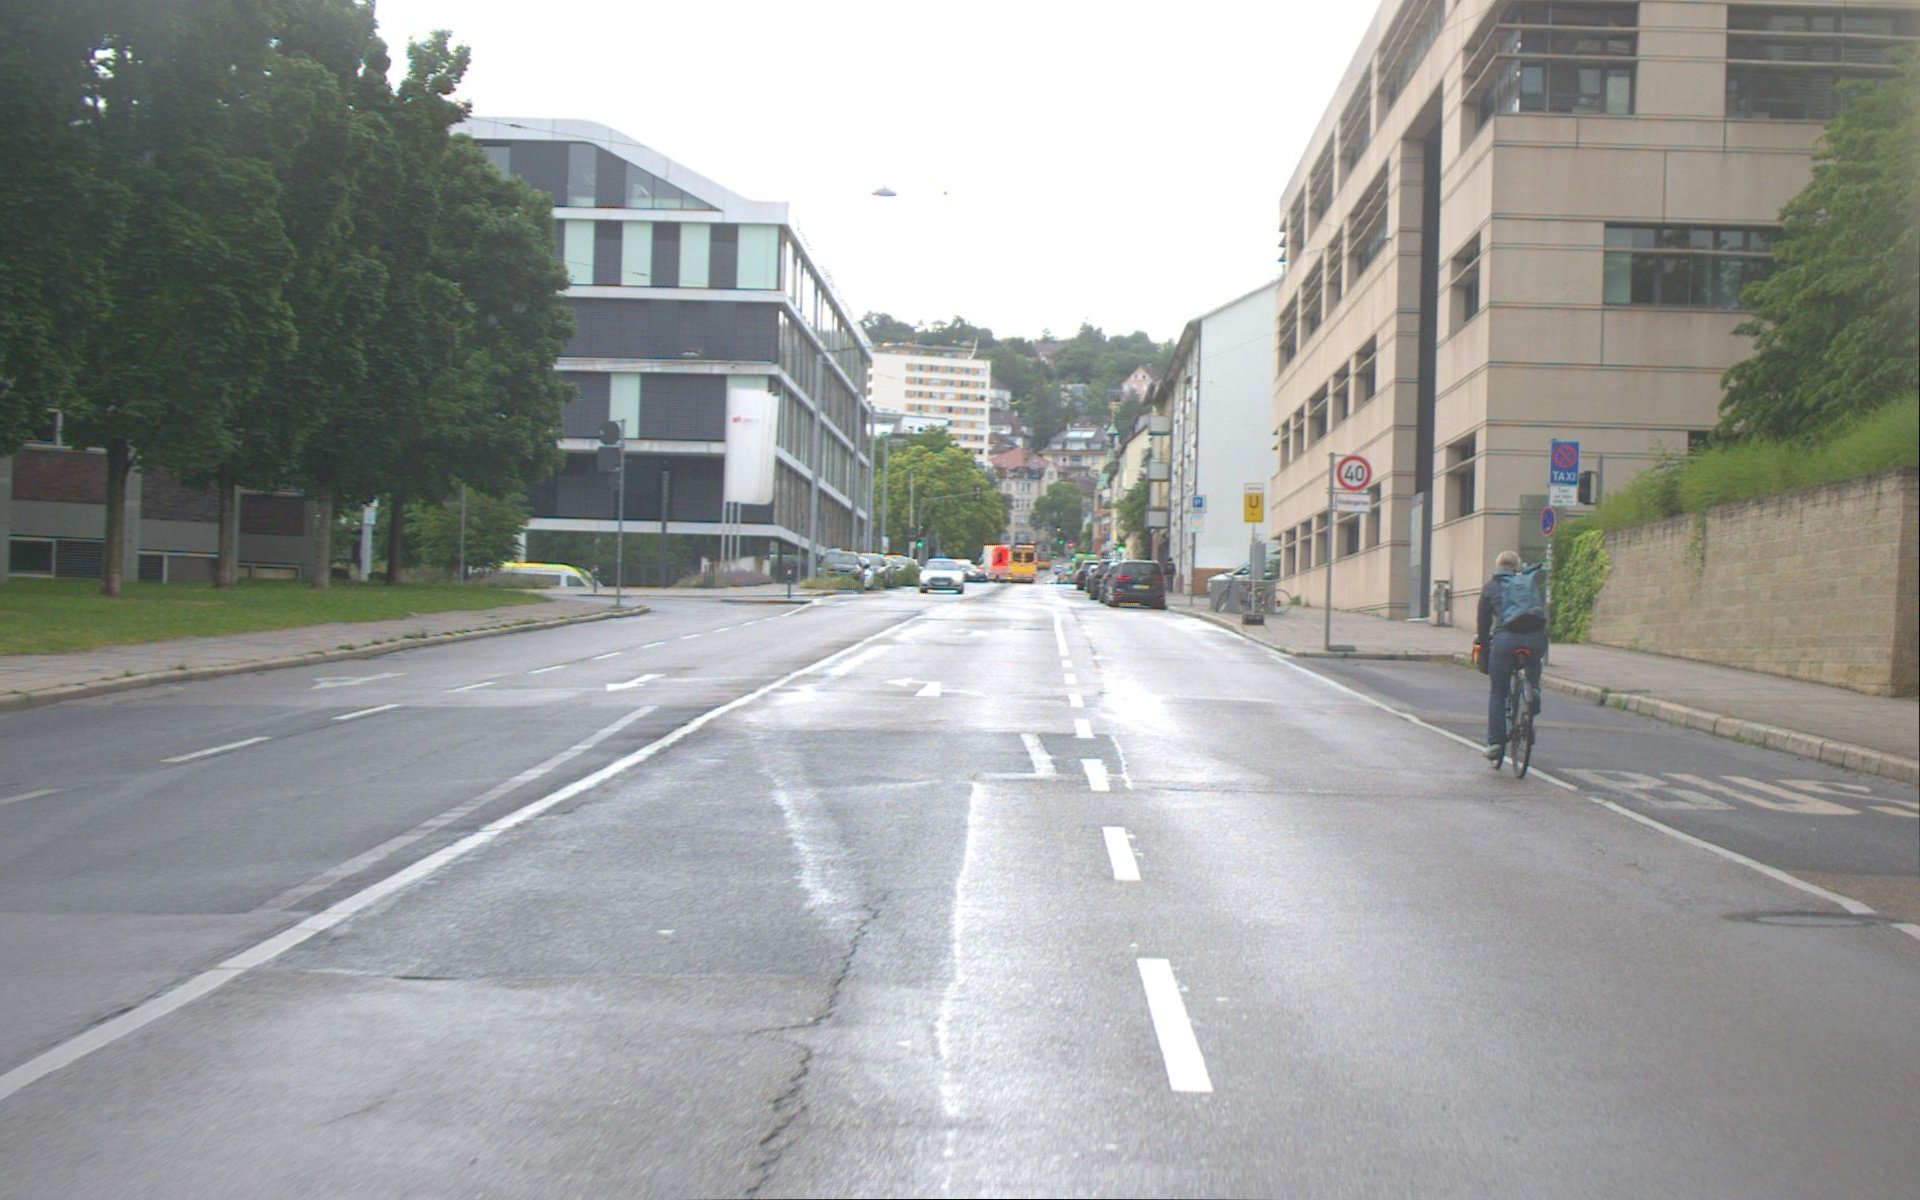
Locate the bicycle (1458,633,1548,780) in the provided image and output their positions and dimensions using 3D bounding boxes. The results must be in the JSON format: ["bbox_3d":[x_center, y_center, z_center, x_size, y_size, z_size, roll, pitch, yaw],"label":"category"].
[{"bbox_3d":[3.906,0.751,24.807,0.447,0.960,1.690,2,1,4],"label":"bicycle"}]

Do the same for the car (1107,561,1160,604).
[{"bbox_3d":[6.672,-0.675,132.678,1.743,1.528,4.319,3,0,0],"label":"car"}]

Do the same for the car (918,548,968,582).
[{"bbox_3d":[-0.737,-1.545,153.149,1.882,1.486,5.219,0,1,4],"label":"car"}]

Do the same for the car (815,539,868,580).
[{"bbox_3d":[-4.976,-1.693,144.835,1.849,1.612,4.490,3,0,2],"label":"car"}]

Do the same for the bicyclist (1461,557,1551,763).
[{"bbox_3d":[3.914,0.426,24.693,0.484,1.428,0.930,3,0,4],"label":"bicyclist"}]

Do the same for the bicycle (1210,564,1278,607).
[{"bbox_3d":[7.719,-0.390,93.575,1.729,1.115,0.660,2,0,-4],"label":"bicycle"}]

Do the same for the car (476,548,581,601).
[{"bbox_3d":[-19.752,-1.174,157.622,4.589,2.167,1.931,3,0,-4],"label":"car"}]

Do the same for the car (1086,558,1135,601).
[{"bbox_3d":[6.514,-0.897,149.156,1.935,1.744,4.796,3,0,1],"label":"car"}]

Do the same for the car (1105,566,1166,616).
[{"bbox_3d":[5.929,-0.306,116.489,1.771,1.598,4.394,3,0,0],"label":"car"}]

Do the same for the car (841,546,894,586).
[{"bbox_3d":[-4.315,-1.580,161.669,1.963,1.744,4.941,3,0,4],"label":"car"}]

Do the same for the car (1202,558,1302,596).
[{"bbox_3d":[13.390,-1.055,157.657,4.438,1.707,1.905,-1,0,1],"label":"car"}]

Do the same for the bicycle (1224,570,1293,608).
[{"bbox_3d":[8.046,-0.288,92.585,1.758,0.950,0.660,2,0,-2],"label":"bicycle"}]
